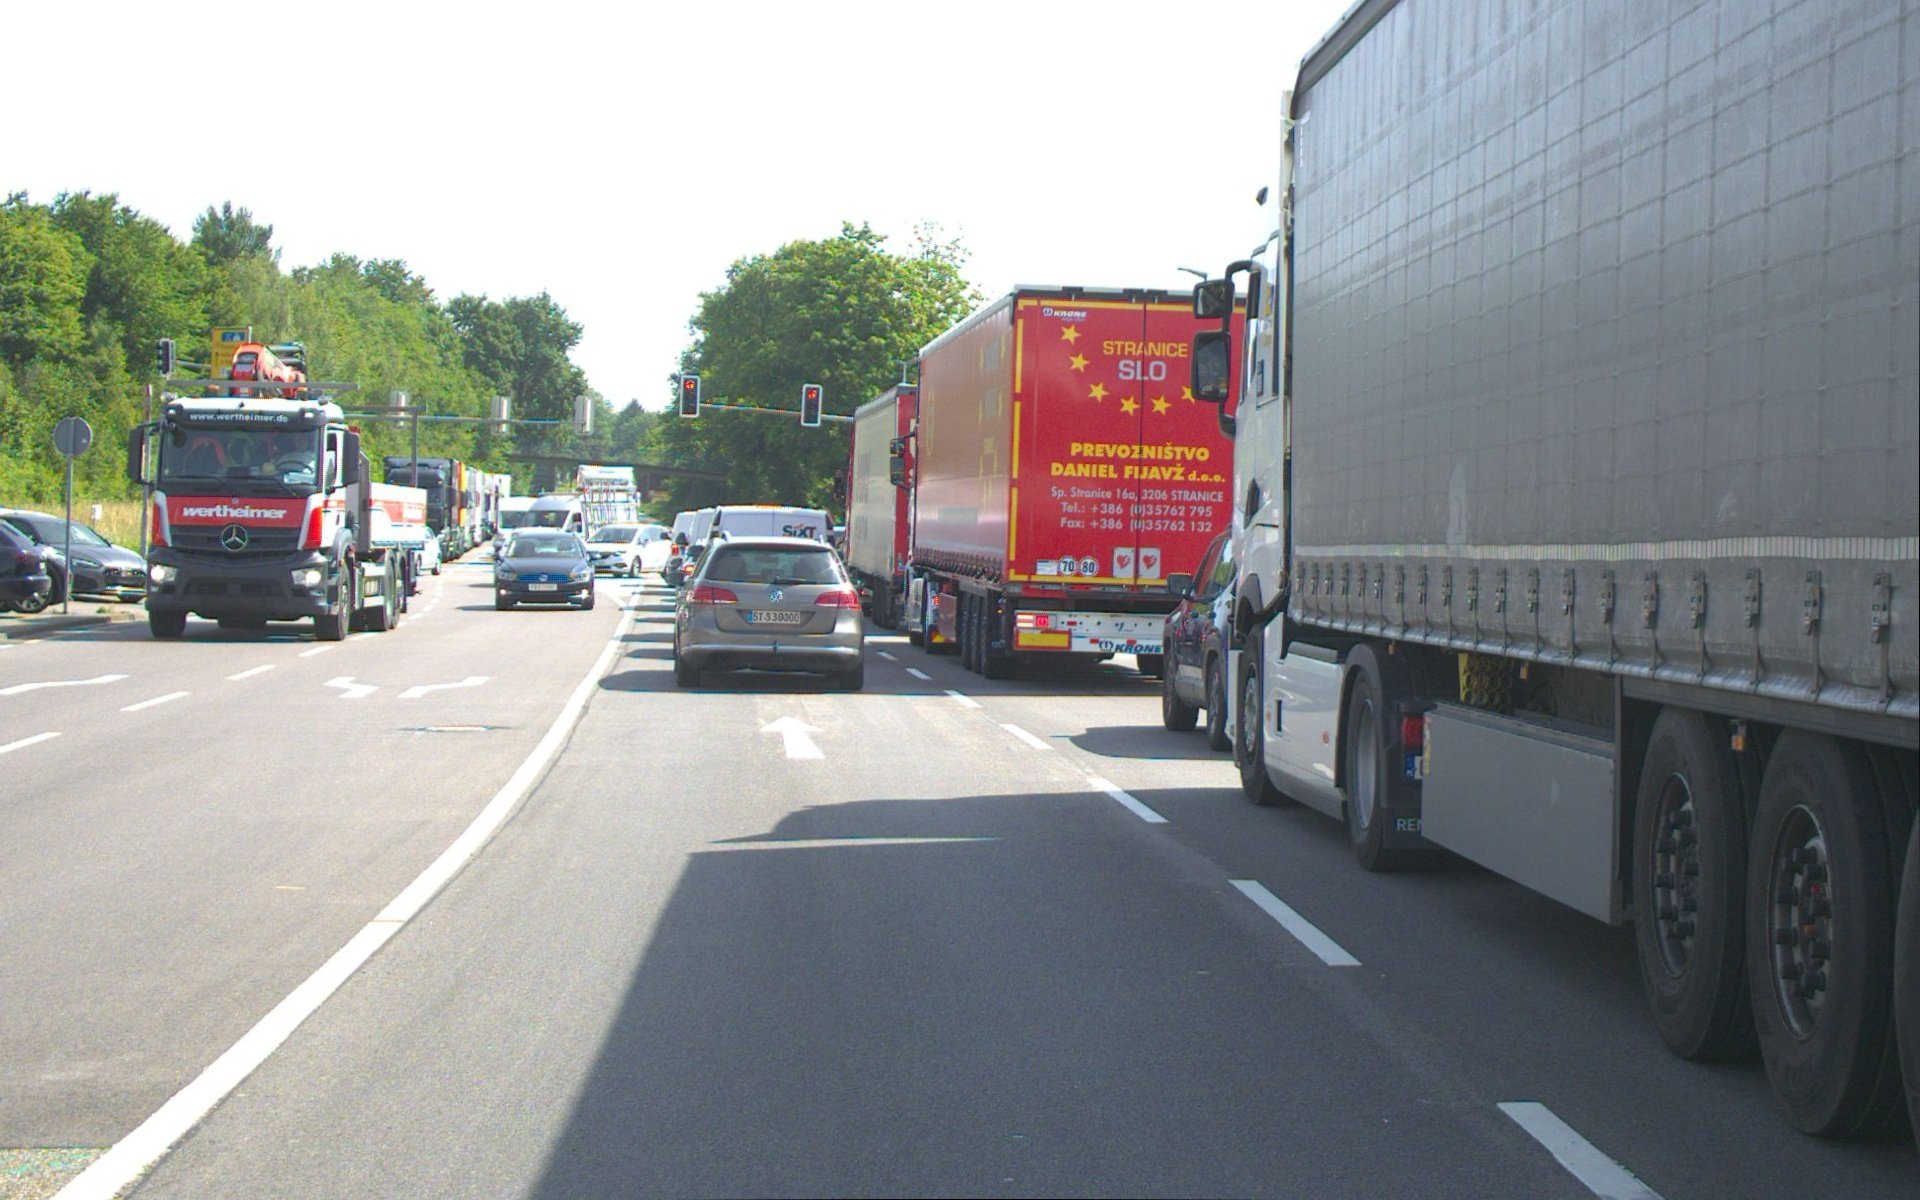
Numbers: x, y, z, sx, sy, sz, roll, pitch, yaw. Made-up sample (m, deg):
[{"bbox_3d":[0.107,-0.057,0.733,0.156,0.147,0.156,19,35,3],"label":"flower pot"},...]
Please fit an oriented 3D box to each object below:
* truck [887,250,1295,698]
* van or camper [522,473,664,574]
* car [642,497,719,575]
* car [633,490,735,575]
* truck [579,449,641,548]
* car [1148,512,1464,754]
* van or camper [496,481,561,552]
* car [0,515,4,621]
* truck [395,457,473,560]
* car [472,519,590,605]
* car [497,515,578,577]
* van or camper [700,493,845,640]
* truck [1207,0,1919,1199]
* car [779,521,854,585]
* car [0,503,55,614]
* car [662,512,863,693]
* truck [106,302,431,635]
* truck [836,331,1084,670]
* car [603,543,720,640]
[{"bbox_3d":[1.104,-1.409,41.687,2.956,4.255,16.587,2,1,-4],"label":"truck"},{"bbox_3d":[-11.955,-2.461,112.533,2.209,3.045,5.897,4,1,18],"label":"van or camper"},{"bbox_3d":[-7.166,-1.631,88.358,1.727,1.902,3.312,2,0,-1],"label":"car"},{"bbox_3d":[-5.251,-1.269,65.702,1.727,1.514,3.312,2,0,-2],"label":"car"},{"bbox_3d":[-15.620,-4.523,153.877,2.552,4.292,7.597,0,1,-4],"label":"truck"},{"bbox_3d":[2.539,0.190,26.131,1.819,1.679,4.001,1,1,-2],"label":"car"},{"bbox_3d":[-16.113,-3.120,128.520,2.173,2.542,4.171,2,1,-5],"label":"van or camper"},{"bbox_3d":[-14.828,-0.446,45.670,3.816,1.443,1.843,1,1,-5],"label":"car"},{"bbox_3d":[-19.838,-3.458,129.935,2.812,3.773,6.992,0,1,-8],"label":"truck"},{"bbox_3d":[-8.144,-0.751,65.515,1.806,1.554,4.387,1,1,-2],"label":"car"},{"bbox_3d":[-10.778,-1.393,87.478,1.909,1.516,4.782,1,1,-8],"label":"car"},{"bbox_3d":[-2.646,-0.490,47.771,1.852,1.899,3.785,2,1,-5],"label":"van or camper"},{"bbox_3d":[3.245,-0.862,12.544,2.890,4.251,16.711,1,1,-2],"label":"truck"},{"bbox_3d":[-3.642,-1.185,86.835,1.726,1.514,3.313,2,0,-5],"label":"car"},{"bbox_3d":[-14.914,-0.619,48.612,3.816,1.534,1.843,1,1,-5],"label":"car"},{"bbox_3d":[-1.861,-0.007,33.327,1.790,1.633,3.504,1,1,-1],"label":"car"},{"bbox_3d":[-9.581,-1.793,48.934,2.956,4.194,10.648,-1,1,-3],"label":"truck"},{"bbox_3d":[-0.307,-1.739,62.211,3.062,5.202,17.010,2,1,-4],"label":"truck"},{"bbox_3d":[-4.953,-0.148,57.332,1.727,1.514,3.312,2,0,-2],"label":"car"}]
